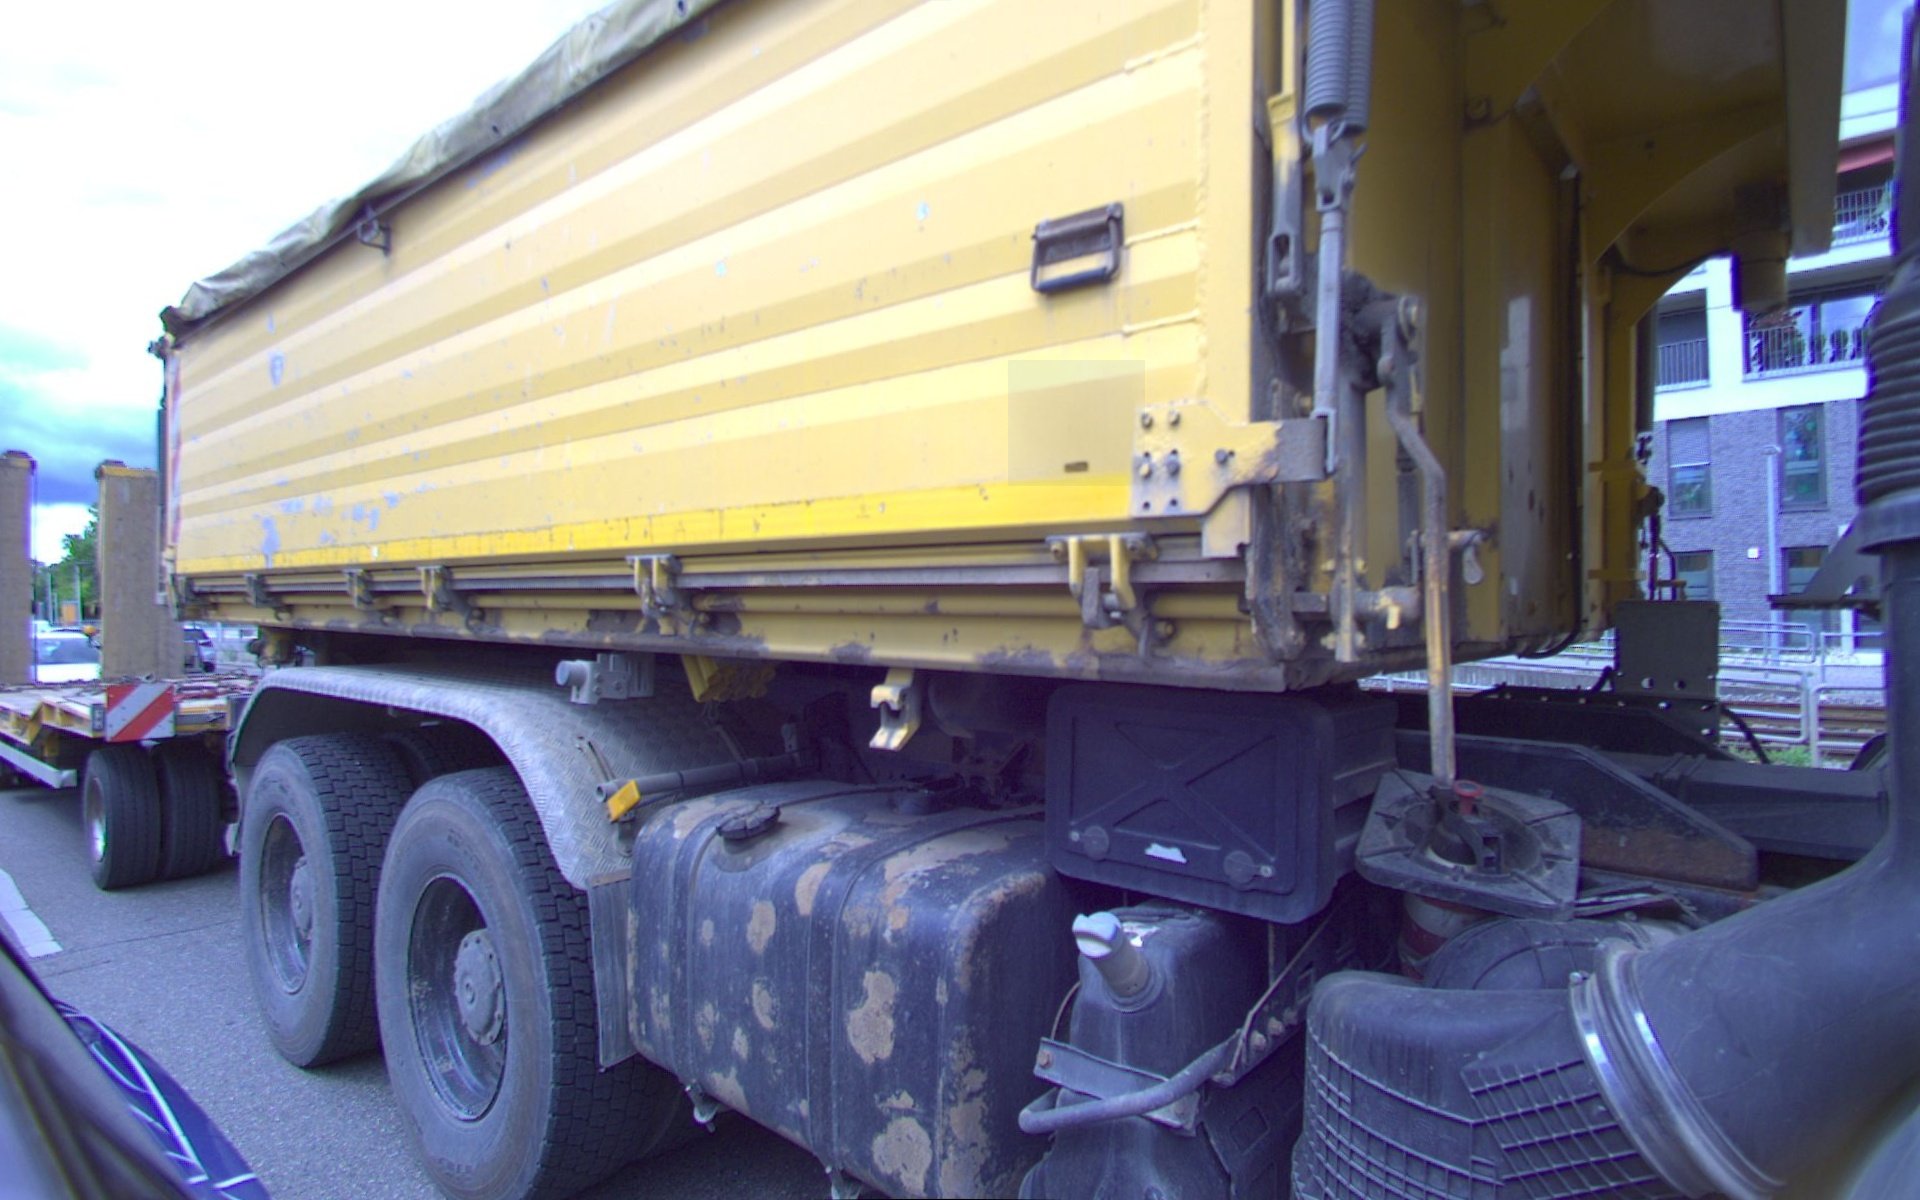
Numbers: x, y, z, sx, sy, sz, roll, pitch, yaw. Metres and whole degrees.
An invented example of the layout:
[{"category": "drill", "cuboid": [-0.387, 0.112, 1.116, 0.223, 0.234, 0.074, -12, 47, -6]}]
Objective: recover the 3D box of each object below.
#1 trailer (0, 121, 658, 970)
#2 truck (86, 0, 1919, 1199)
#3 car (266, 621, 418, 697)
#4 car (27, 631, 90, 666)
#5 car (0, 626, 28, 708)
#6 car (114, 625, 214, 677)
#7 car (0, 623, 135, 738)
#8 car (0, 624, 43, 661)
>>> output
[{"category": "trailer", "cuboid": [-6.865, -0.132, 8.852, 10.909, 3.548, 2.678, -2, -1, 41]}, {"category": "truck", "cuboid": [0.153, -0.022, 2.684, 7.775, 3.026, 2.692, -1, 0, 41]}, {"category": "car", "cuboid": [-13.608, 1.234, 22.199, 4.042, 1.480, 1.758, -2, -1, 42]}, {"category": "car", "cuboid": [-40.000, 2.129, 44.877, 3.564, 1.469, 1.683, -2, -1, 41]}, {"category": "car", "cuboid": [-19.623, 1.286, 19.770, 3.998, 1.490, 1.671, -1, 0, 41]}, {"category": "car", "cuboid": [-24.631, 1.551, 31.266, 4.277, 1.452, 1.743, -2, -1, 42]}, {"category": "car", "cuboid": [-14.119, 1.137, 15.484, 3.998, 1.490, 1.671, -1, 0, 41]}, {"category": "car", "cuboid": [-49.032, 2.202, 52.311, 4.861, 1.785, 1.863, -2, -1, 41]}]
